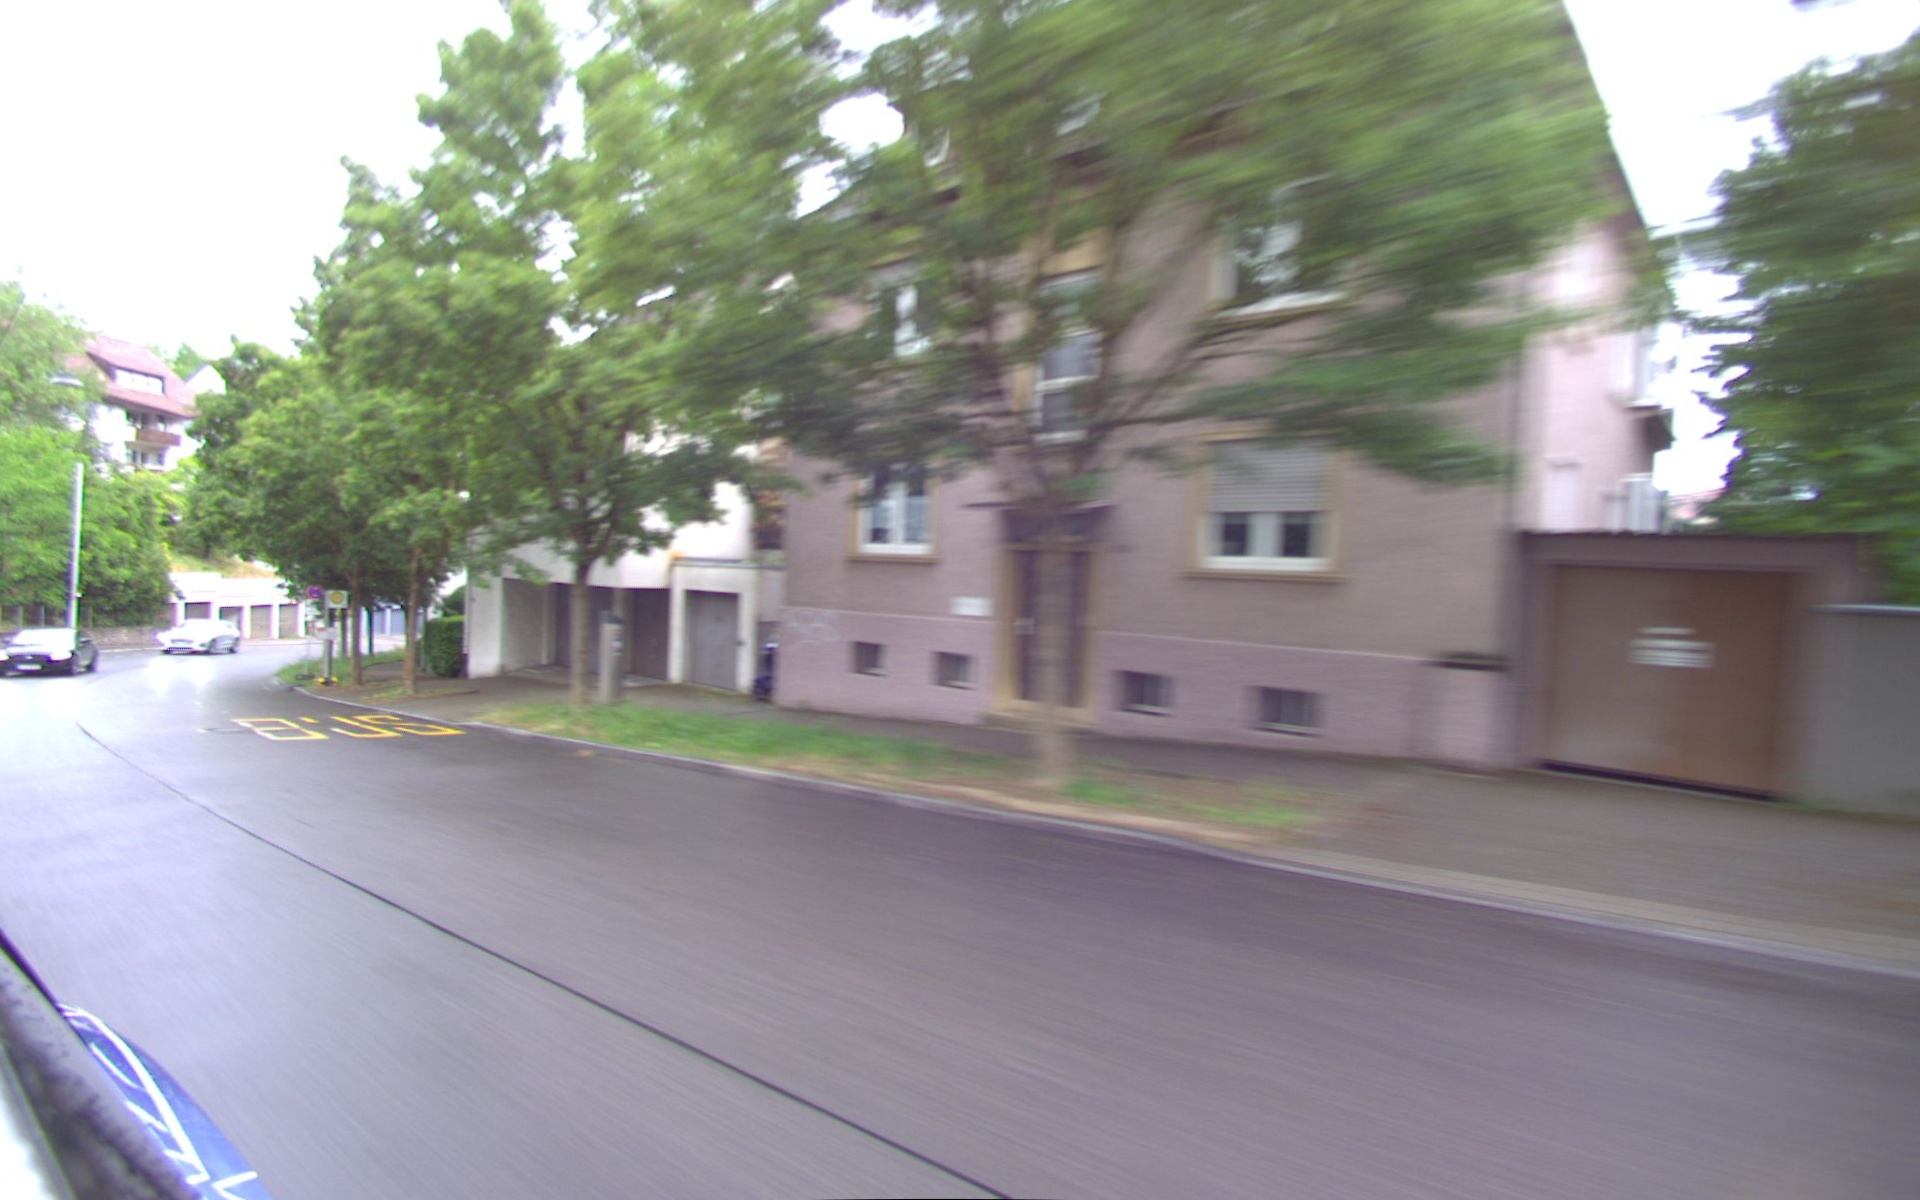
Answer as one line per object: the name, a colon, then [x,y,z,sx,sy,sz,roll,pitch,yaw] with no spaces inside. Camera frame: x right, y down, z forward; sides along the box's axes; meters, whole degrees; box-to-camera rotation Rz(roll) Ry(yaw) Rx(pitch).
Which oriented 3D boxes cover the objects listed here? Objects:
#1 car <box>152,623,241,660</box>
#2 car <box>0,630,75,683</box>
car: [-36.569,1.983,48.618,1.979,1.674,4.459,1,-2,-17]
car: [-28.099,1.656,30.494,4.018,1.500,1.783,-2,-3,44]
